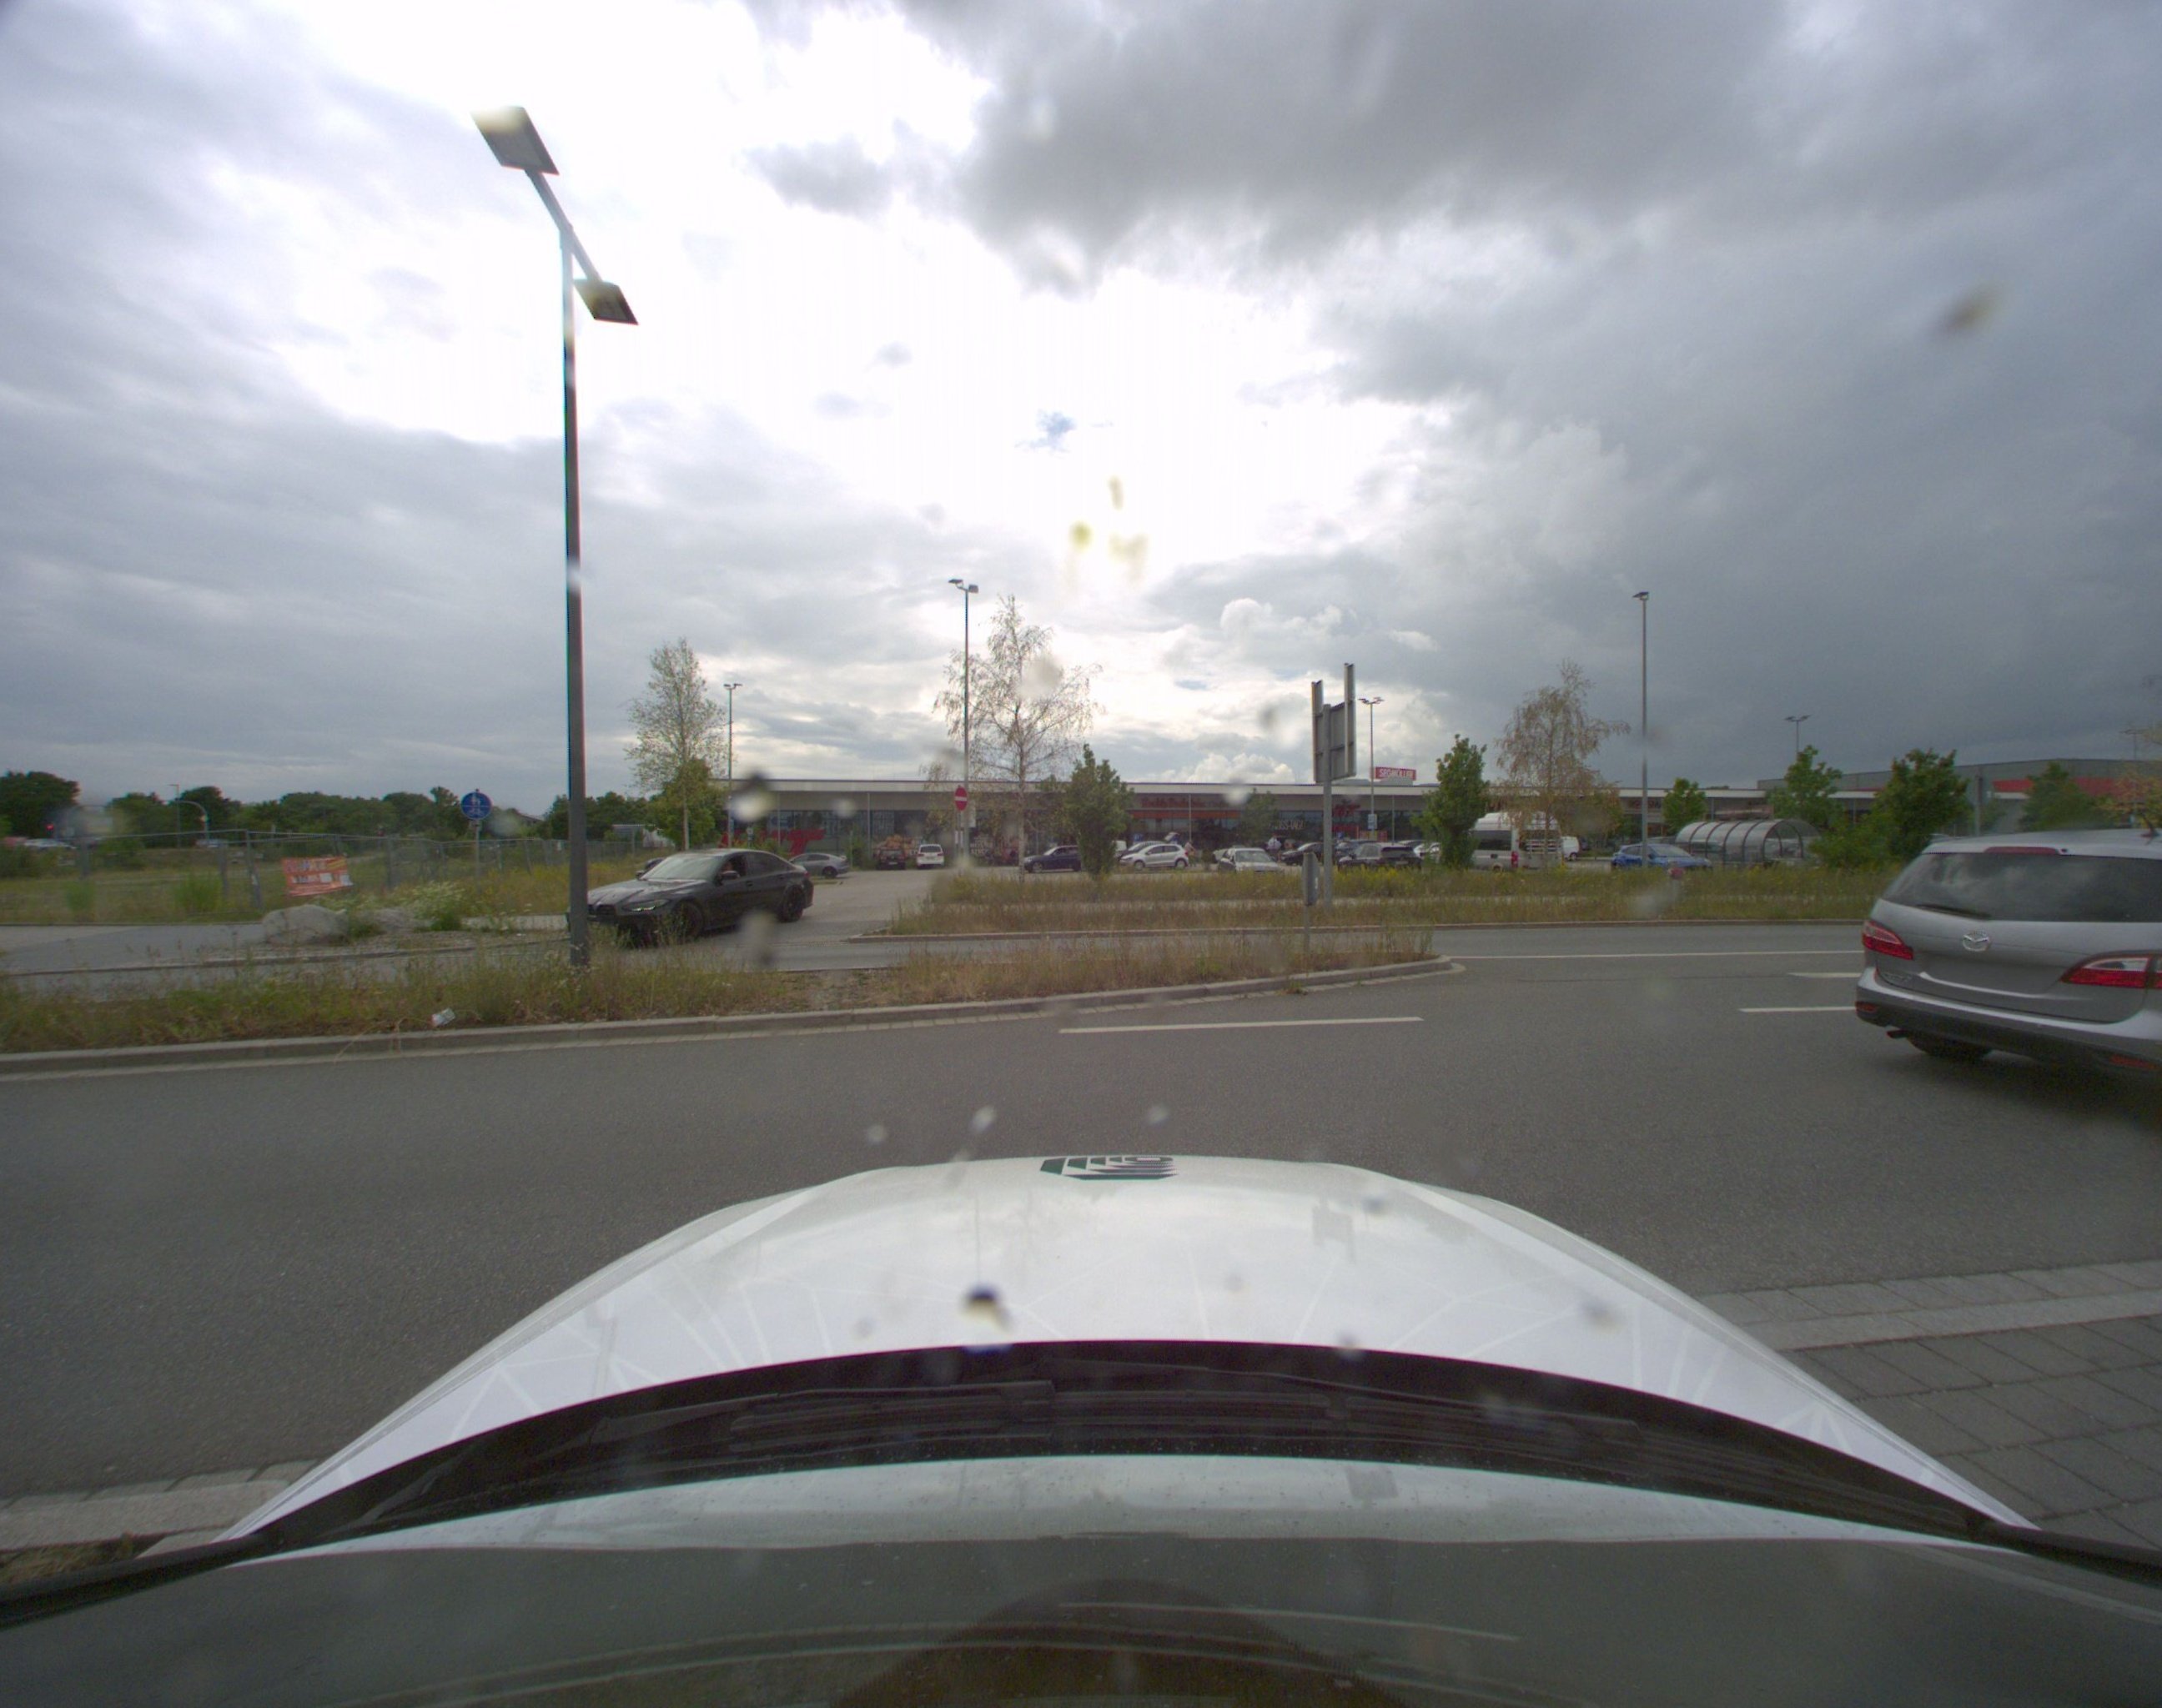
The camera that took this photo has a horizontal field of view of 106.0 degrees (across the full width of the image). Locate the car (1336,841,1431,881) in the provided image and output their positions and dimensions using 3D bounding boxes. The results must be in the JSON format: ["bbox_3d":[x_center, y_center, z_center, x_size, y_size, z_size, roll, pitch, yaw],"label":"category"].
[{"bbox_3d":[11.716,0.250,31.848,1.984,1.451,4.144,0,0,-4],"label":"car"}]

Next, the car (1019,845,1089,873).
[{"bbox_3d":[-1.496,0.264,44.608,3.610,1.454,1.661,-1,1,-13],"label":"car"}]

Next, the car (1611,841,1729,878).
[{"bbox_3d":[23.294,0.207,32.422,1.798,1.384,4.151,0,0,1],"label":"car"}]

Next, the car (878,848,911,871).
[{"bbox_3d":[-12.715,0.338,55.622,1.906,1.443,3.988,-1,1,-9],"label":"car"}]

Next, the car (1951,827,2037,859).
[{"bbox_3d":[52.747,-0.630,47.075,4.000,1.733,1.987,-1,1,-20],"label":"car"}]

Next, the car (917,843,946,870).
[{"bbox_3d":[-10.312,0.139,56.248,1.823,1.699,4.221,-1,2,-9],"label":"car"}]

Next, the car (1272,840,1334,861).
[{"bbox_3d":[16.305,-0.257,59.879,3.988,1.508,1.993,-1,1,-11],"label":"car"}]

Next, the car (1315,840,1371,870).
[{"bbox_3d":[15.159,0.018,47.283,1.810,1.653,3.996,-1,1,-3],"label":"car"}]

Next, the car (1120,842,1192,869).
[{"bbox_3d":[4.217,0.070,46.172,3.749,1.454,1.661,-1,1,-12],"label":"car"}]

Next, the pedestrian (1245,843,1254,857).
[{"bbox_3d":[14.286,-0.330,69.035,0.560,1.201,0.526,-1,1,-12],"label":"pedestrian"}]

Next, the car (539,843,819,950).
[{"bbox_3d":[-6.655,0.587,14.209,1.767,1.445,4.628,0,2,14],"label":"car"}]

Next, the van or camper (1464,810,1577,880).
[{"bbox_3d":[16.707,-0.318,31.184,2.274,2.492,4.002,0,0,2],"label":"van or camper"}]

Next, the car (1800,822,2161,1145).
[{"bbox_3d":[7.382,0.585,5.121,4.381,1.563,1.818,-1,2,-6],"label":"car"}]

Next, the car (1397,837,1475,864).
[{"bbox_3d":[21.998,-0.242,50.592,3.978,1.618,1.998,-1,1,-3],"label":"car"}]

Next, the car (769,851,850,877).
[{"bbox_3d":[-14.602,0.510,44.014,3.993,1.352,1.990,0,0,-14],"label":"car"}]

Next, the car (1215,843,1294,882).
[{"bbox_3d":[6.661,0.302,31.791,1.984,1.384,4.144,0,0,-4],"label":"car"}]

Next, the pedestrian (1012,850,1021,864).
[{"bbox_3d":[-5.252,0.247,66.380,0.577,1.124,0.559,-1,1,-15],"label":"pedestrian"}]

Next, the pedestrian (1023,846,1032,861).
[{"bbox_3d":[-4.312,-0.048,65.641,0.577,1.124,0.559,-1,1,-15],"label":"pedestrian"}]

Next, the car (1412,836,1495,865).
[{"bbox_3d":[21.929,-0.232,48.004,3.978,1.618,1.998,-1,1,-3],"label":"car"}]

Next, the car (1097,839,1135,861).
[{"bbox_3d":[2.510,-0.298,59.404,1.993,1.508,3.987,-1,1,-9],"label":"car"}]

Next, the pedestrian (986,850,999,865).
[{"bbox_3d":[-7.230,0.293,66.411,0.972,1.154,1.128,-1,1,-13],"label":"pedestrian"}]

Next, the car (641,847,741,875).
[{"bbox_3d":[-22.901,0.405,48.075,5.018,1.557,1.989,0,0,-16],"label":"car"}]

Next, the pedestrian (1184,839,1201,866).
[{"bbox_3d":[6.731,-0.088,49.241,0.820,1.631,0.897,0,0,-7],"label":"pedestrian"}]

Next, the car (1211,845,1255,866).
[{"bbox_3d":[11.393,0.063,61.367,1.993,1.508,3.987,-1,1,-9],"label":"car"}]

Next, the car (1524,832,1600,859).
[{"bbox_3d":[33.233,-0.595,56.283,4.420,1.819,1.990,0,0,-14],"label":"car"}]

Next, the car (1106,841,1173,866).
[{"bbox_3d":[3.493,-0.043,49.068,3.749,1.454,1.661,-1,1,-12],"label":"car"}]

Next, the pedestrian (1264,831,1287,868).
[{"bbox_3d":[10.656,-0.255,44.704,0.998,2.013,0.866,0,1,-4],"label":"pedestrian"}]

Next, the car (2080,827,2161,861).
[{"bbox_3d":[53.551,-0.541,41.821,3.837,1.653,1.751,-1,1,-21],"label":"car"}]

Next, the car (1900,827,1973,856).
[{"bbox_3d":[52.078,-0.768,49.584,3.837,1.653,1.751,-1,1,-21],"label":"car"}]
